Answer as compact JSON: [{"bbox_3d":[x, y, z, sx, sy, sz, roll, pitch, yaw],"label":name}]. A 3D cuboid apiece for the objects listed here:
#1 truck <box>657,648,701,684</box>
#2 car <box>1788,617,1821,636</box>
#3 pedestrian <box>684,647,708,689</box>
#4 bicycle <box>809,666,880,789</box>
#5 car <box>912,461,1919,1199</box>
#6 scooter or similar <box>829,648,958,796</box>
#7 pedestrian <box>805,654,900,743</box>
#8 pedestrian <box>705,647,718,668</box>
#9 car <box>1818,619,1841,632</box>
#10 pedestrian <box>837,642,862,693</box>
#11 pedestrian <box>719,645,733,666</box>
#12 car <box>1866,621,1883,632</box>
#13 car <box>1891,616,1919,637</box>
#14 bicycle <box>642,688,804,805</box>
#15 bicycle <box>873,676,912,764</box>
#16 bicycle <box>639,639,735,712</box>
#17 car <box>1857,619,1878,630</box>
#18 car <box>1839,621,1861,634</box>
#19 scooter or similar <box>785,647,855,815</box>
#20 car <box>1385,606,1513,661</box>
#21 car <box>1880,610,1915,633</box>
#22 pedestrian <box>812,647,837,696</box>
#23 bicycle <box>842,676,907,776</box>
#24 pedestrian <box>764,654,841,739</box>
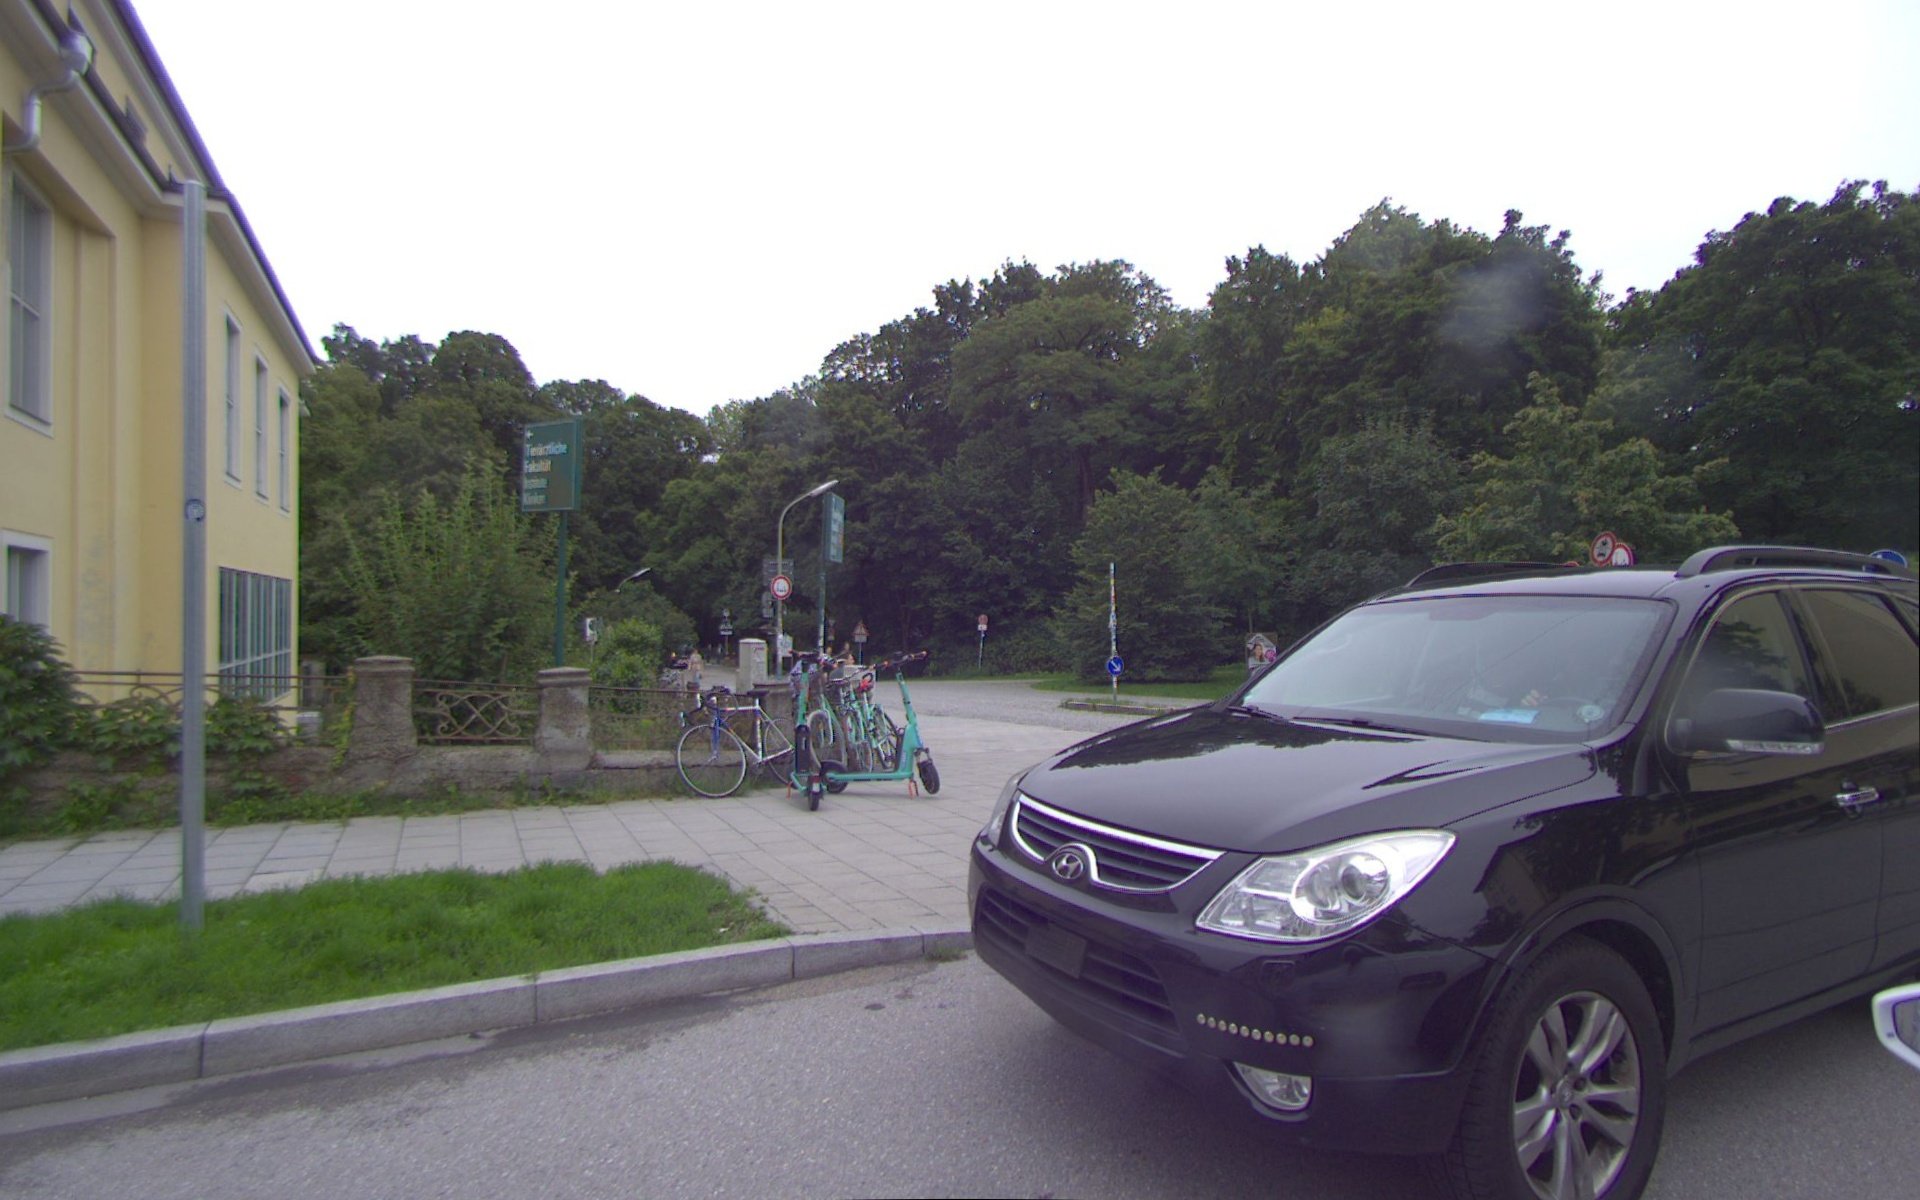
[{"bbox_3d":[-21.478,5.002,76.626,2.367,2.493,5.460,0,-1,-25],"label":"truck"},{"bbox_3d":[72.996,2.279,86.863,1.969,1.622,4.448,-1,-1,38],"label":"car"},{"bbox_3d":[-11.158,2.857,42.467,0.741,1.728,1.103,0,-1,-30],"label":"pedestrian"},{"bbox_3d":[-1.151,1.250,10.176,0.295,1.125,1.192,1,-2,14],"label":"bicycle"},{"bbox_3d":[2.283,0.648,3.851,4.557,1.742,1.985,1,-1,-29],"label":"car"},{"bbox_3d":[-0.575,1.056,8.876,1.032,1.228,0.440,2,-1,5],"label":"scooter or similar"},{"bbox_3d":[-1.691,1.513,15.797,1.252,1.285,0.843,1,-1,-33],"label":"pedestrian"},{"bbox_3d":[-20.470,4.752,82.672,0.865,1.674,0.733,-1,-1,-2],"label":"pedestrian"},{"bbox_3d":[104.108,3.049,120.299,1.972,1.622,4.442,-1,-1,43],"label":"car"},{"bbox_3d":[-3.774,2.301,34.362,0.651,1.720,0.747,0,-1,-25],"label":"pedestrian"},{"bbox_3d":[-19.374,4.596,83.201,0.876,1.674,0.724,1,-2,-44],"label":"pedestrian"},{"bbox_3d":[140.432,4.041,154.256,4.222,1.680,1.784,2,-2,-45],"label":"car"},{"bbox_3d":[77.860,2.172,82.232,1.969,1.622,4.237,-1,-1,37],"label":"car"},{"bbox_3d":[-2.027,1.235,8.719,0.428,0.905,1.322,0,-3,44],"label":"bicycle"},{"bbox_3d":[-0.836,1.482,12.641,0.406,0.990,1.276,-1,-2,-1],"label":"bicycle"},{"bbox_3d":[-6.926,1.851,25.304,1.045,1.683,3.113,1,-1,-42],"label":"bicycle"},{"bbox_3d":[136.022,3.639,150.474,4.435,1.622,1.975,1,-1,-43],"label":"car"},{"bbox_3d":[118.775,3.647,134.053,4.218,1.680,1.786,2,-2,-42],"label":"car"},{"bbox_3d":[-1.192,1.049,8.404,0.388,1.260,1.260,2,-2,-15],"label":"scooter or similar"},{"bbox_3d":[18.339,1.262,37.822,3.919,2.040,1.789,0,-2,4],"label":"car"},{"bbox_3d":[83.574,1.953,89.585,2.043,1.992,4.951,-1,-1,41],"label":"car"},{"bbox_3d":[-4.570,2.394,33.934,0.682,1.602,0.747,0,-1,-23],"label":"pedestrian"},{"bbox_3d":[-0.933,1.377,11.212,0.406,0.990,1.277,-1,-2,10],"label":"bicycle"},{"bbox_3d":[-2.700,1.621,17.203,1.022,1.353,0.947,1,-1,-33],"label":"pedestrian"}]
